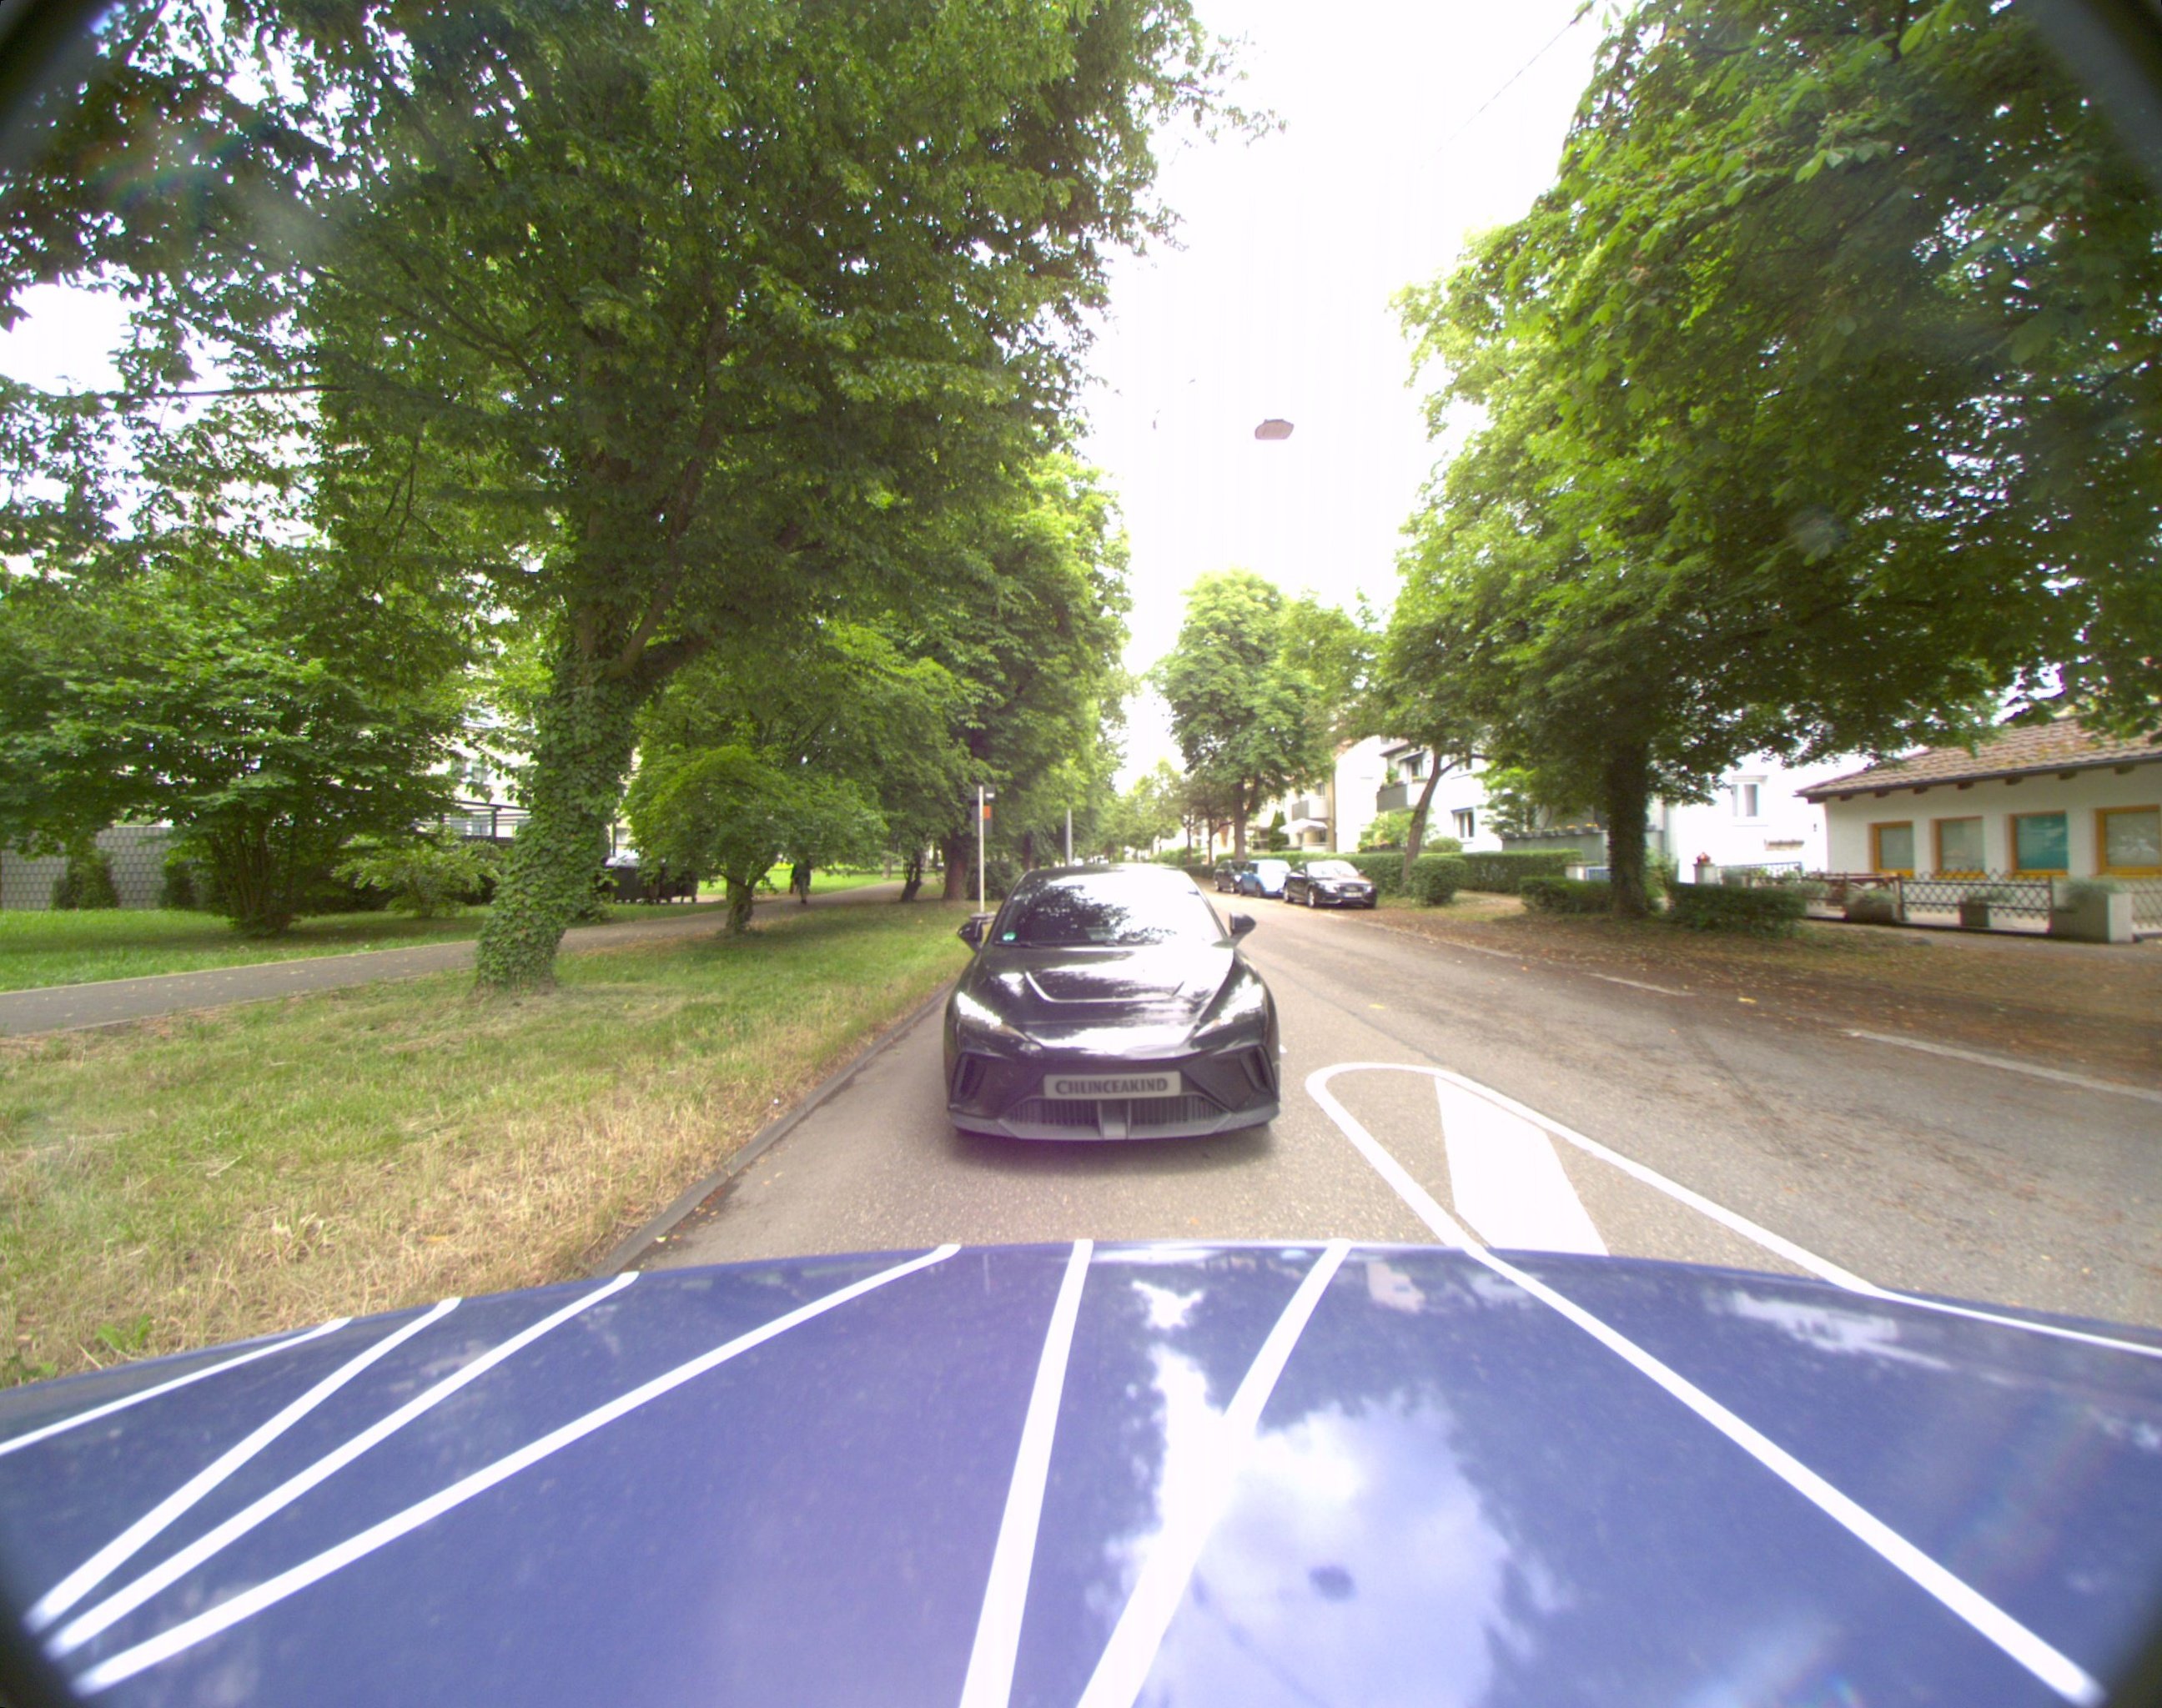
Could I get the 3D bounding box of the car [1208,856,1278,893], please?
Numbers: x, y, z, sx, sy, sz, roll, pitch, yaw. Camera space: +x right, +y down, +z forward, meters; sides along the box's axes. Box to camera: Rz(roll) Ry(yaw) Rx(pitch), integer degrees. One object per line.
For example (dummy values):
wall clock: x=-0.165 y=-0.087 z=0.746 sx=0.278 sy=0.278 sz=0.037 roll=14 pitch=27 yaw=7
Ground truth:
car: x=7.075 y=0.876 z=33.661 sx=1.889 sy=1.524 sz=4.565 roll=0 pitch=0 yaw=-3

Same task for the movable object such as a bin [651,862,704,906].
movable object such as a bin: x=-13.244 y=0.978 z=24.979 sx=1.194 sy=1.405 sz=1.110 roll=0 pitch=0 yaw=-8

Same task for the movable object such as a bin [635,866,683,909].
movable object such as a bin: x=-13.241 y=1.038 z=23.886 sx=1.026 sy=1.296 sz=0.960 roll=0 pitch=0 yaw=-8

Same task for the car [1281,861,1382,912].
car: x=7.405 y=0.910 z=22.886 sx=1.735 sy=1.394 sz=4.172 roll=0 pitch=0 yaw=1

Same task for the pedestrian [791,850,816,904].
pedestrian: x=-8.903 y=0.732 z=24.375 sx=0.565 sy=1.730 sz=0.570 roll=1 pitch=0 yaw=0

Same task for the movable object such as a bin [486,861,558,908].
movable object such as a bin: x=-16.515 y=0.887 z=22.492 sx=1.194 sy=1.334 sz=1.348 roll=0 pitch=0 yaw=-8

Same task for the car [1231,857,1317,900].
car: x=7.206 y=0.874 z=28.907 sx=1.889 sy=1.492 sz=4.565 roll=0 pitch=0 yaw=-3

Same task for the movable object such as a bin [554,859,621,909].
movable object such as a bin: x=-14.574 y=0.863 z=22.495 sx=1.194 sy=1.448 sz=1.348 roll=0 pitch=0 yaw=-8

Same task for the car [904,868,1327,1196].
car: x=0.185 y=0.889 z=5.907 sx=1.998 sy=1.491 sz=4.615 roll=0 pitch=0 yaw=1

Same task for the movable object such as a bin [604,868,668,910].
movable object such as a bin: x=-13.257 y=1.020 z=22.687 sx=1.194 sy=1.213 sz=1.348 roll=0 pitch=0 yaw=-8
